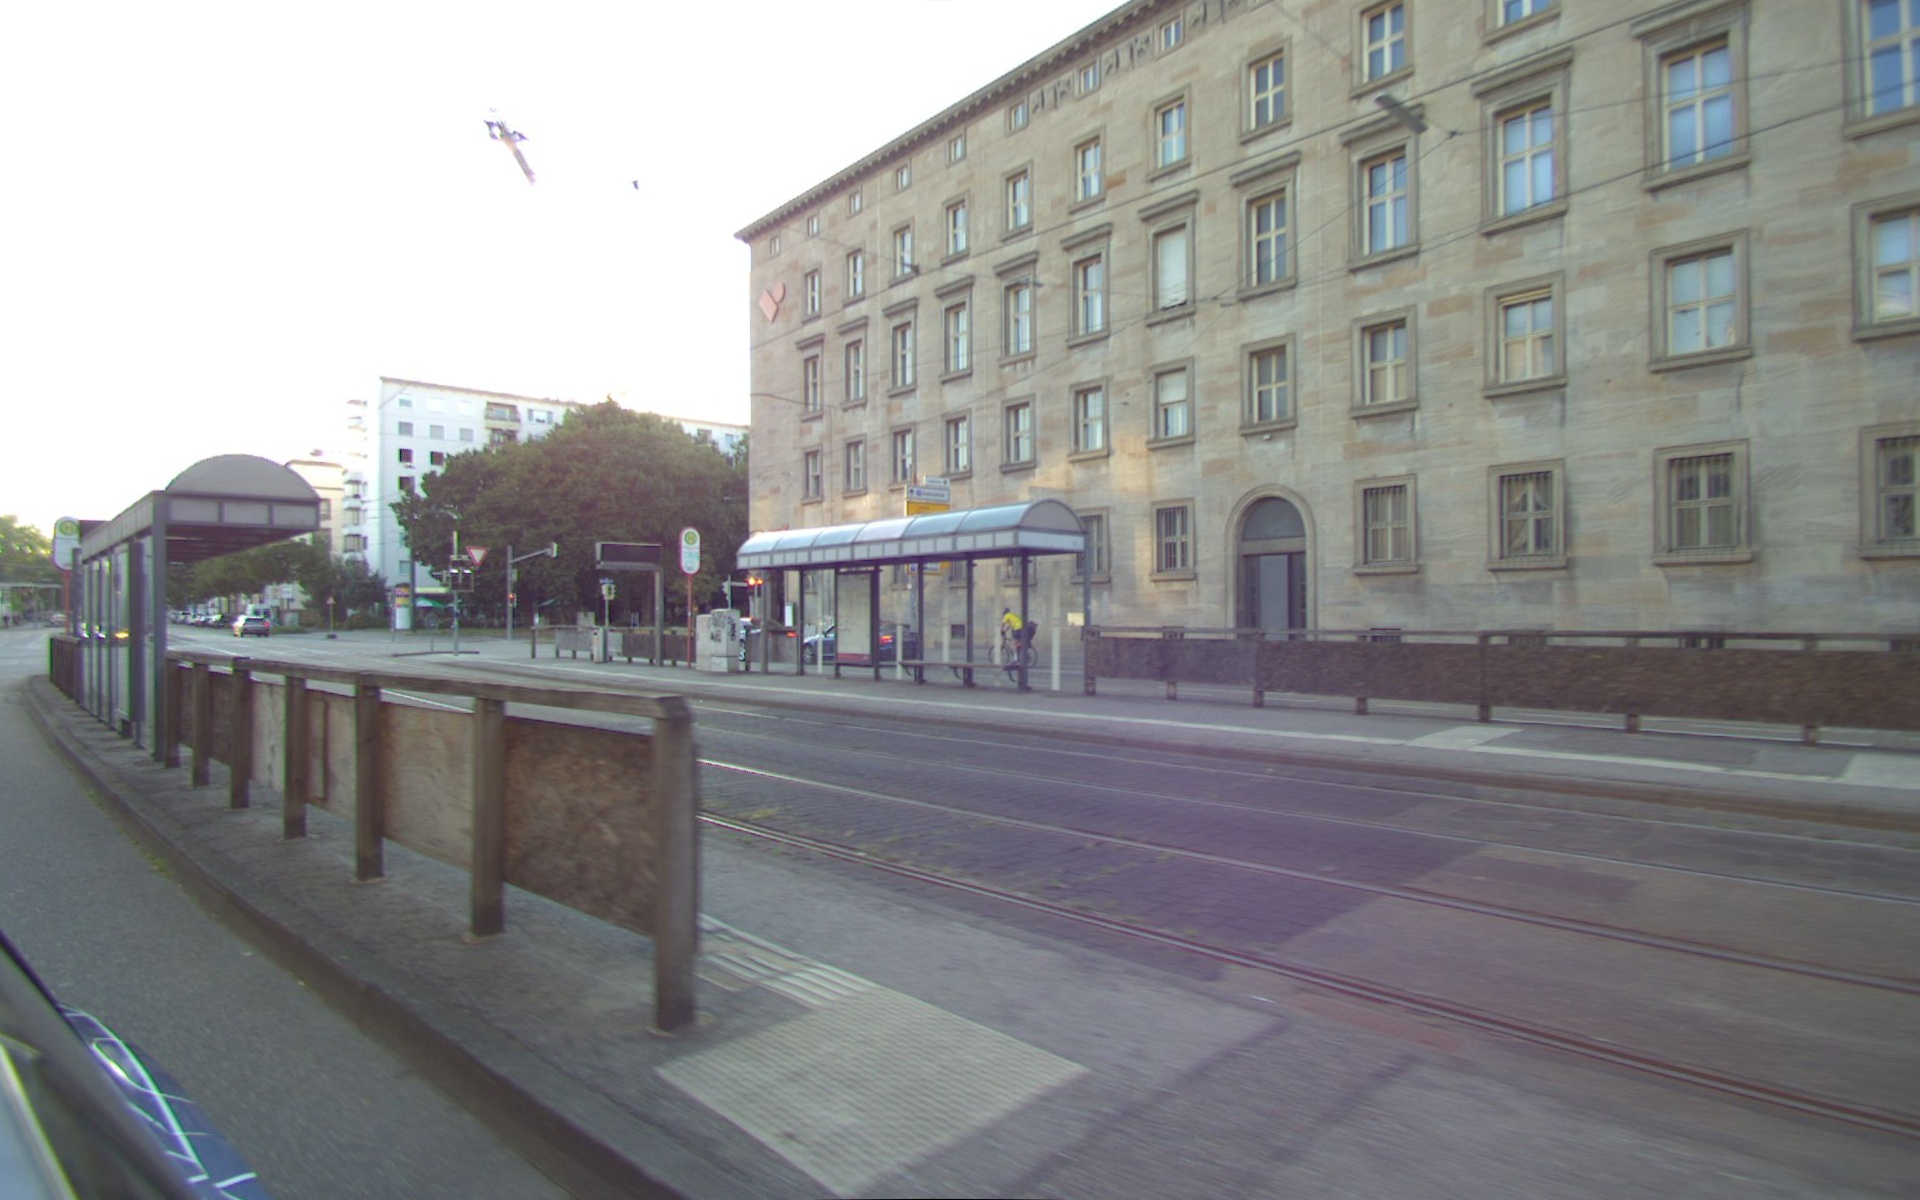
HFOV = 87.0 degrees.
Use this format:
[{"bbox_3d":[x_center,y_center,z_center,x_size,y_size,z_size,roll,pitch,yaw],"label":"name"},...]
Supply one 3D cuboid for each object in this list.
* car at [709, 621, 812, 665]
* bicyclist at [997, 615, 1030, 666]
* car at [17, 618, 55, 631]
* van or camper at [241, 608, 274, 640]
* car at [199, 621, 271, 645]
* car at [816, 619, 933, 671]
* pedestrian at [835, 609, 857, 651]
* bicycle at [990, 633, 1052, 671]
[{"bbox_3d":[-6.997,1.456,35.195,1.622,1.438,4.238,0,-1,-41],"label":"car"},{"bbox_3d":[1.545,1.155,29.213,0.747,1.451,0.598,0,-2,-41],"label":"bicyclist"},{"bbox_3d":[-124.644,3.275,136.613,3.751,1.661,1.866,0,-1,-42],"label":"car"},{"bbox_3d":[-65.115,2.266,93.760,2.078,2.702,4.718,0,-3,-40],"label":"van or camper"},{"bbox_3d":[-54.397,2.472,75.964,4.296,1.676,1.882,-1,-1,9],"label":"car"},{"bbox_3d":[-2.628,1.328,30.606,1.622,1.438,3.710,0,-1,-42],"label":"car"},{"bbox_3d":[-4.739,1.250,42.098,0.686,1.723,0.647,0,-1,-39],"label":"pedestrian"},{"bbox_3d":[1.737,1.469,28.979,0.732,1.025,1.763,0,-1,-41],"label":"bicycle"}]
